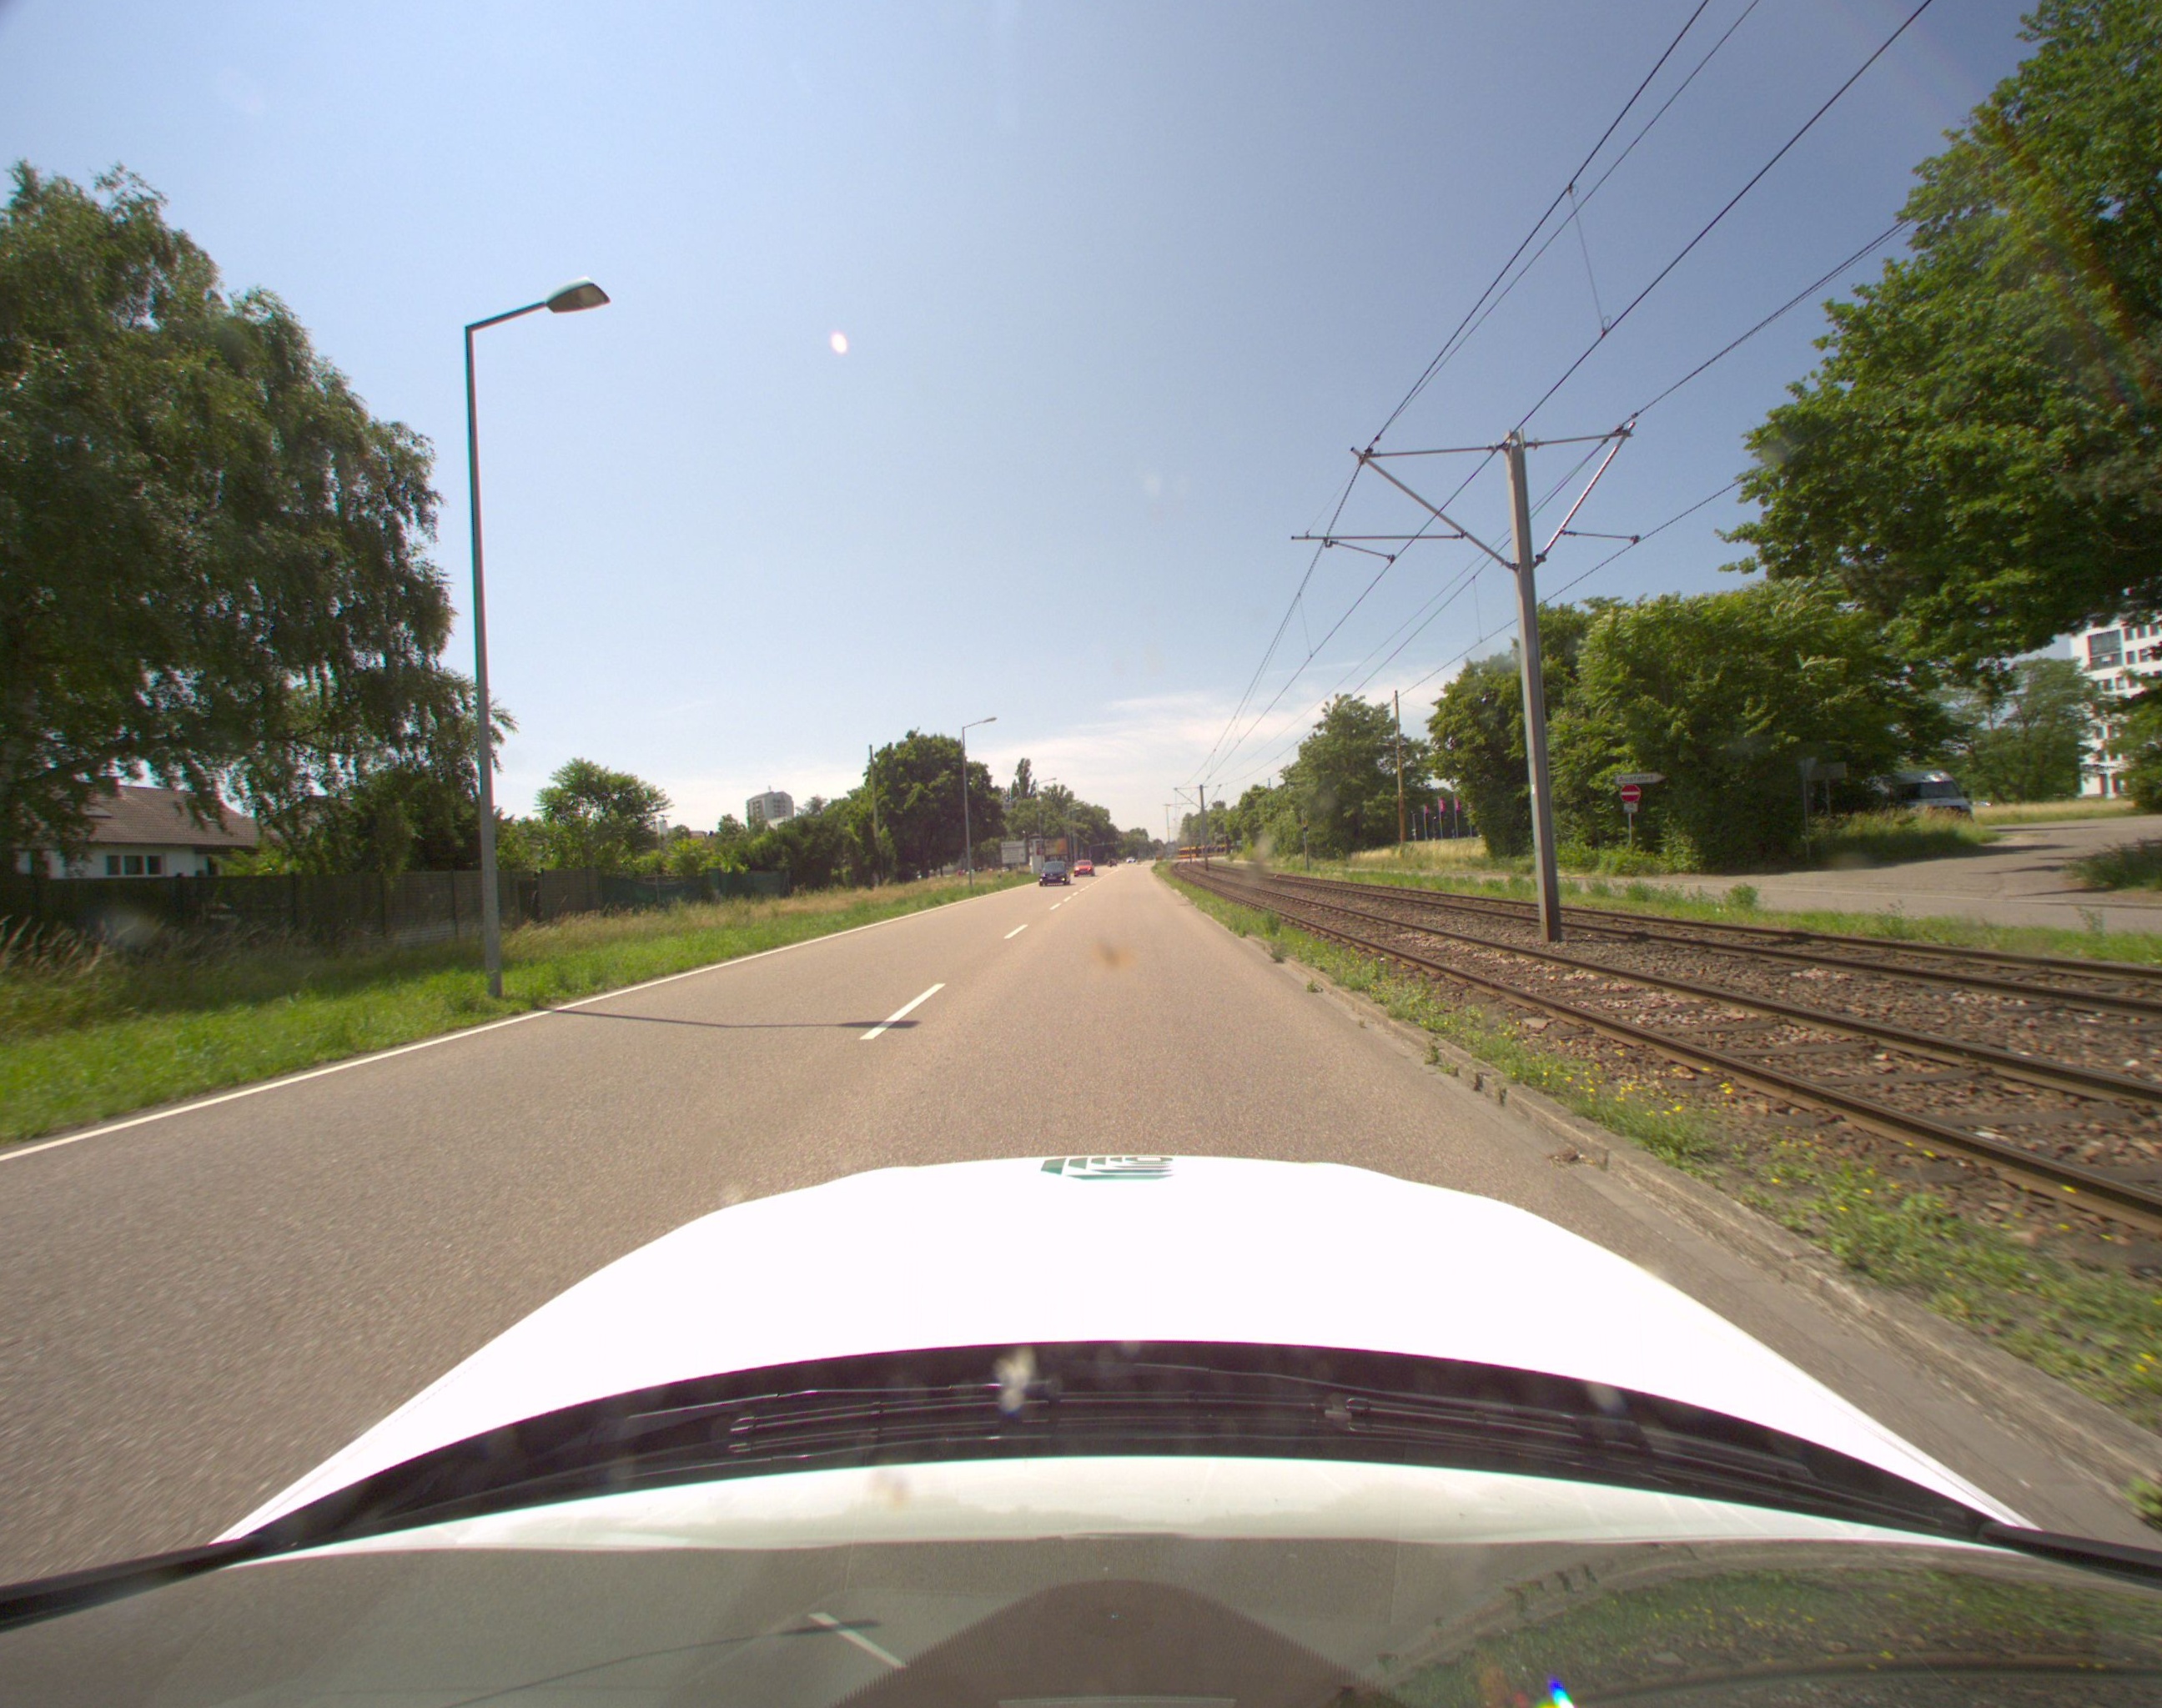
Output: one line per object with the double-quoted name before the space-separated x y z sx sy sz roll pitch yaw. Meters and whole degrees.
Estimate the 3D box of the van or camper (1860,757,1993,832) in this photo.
"van or camper" 35.072 -2.403 33.984 2.307 2.640 4.458 4 0 25

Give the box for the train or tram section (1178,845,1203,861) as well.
"train or tram section" 33.382 -0.271 248.467 2.917 3.920 13.980 -2 -3 -12

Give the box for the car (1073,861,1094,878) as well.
"car" 0.254 1.377 72.555 1.673 1.399 4.001 -2 0 1

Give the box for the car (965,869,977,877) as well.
"car" -25.659 4.437 190.235 1.711 1.592 3.971 -3 -1 -21

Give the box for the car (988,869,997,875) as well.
"car" -20.850 4.204 191.477 1.618 1.464 3.985 -3 -1 -11

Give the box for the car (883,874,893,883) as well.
"car" -43.549 5.493 183.652 1.851 1.948 3.976 -3 -1 -17

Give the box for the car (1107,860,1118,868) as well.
"car" 6.429 2.048 165.577 1.898 1.499 4.634 -2 -1 3

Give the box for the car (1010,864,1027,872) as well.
"car" -16.719 3.646 218.054 4.576 1.768 1.769 -3 -1 -45

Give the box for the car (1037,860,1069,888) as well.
"car" -1.665 1.185 49.748 1.678 1.570 3.968 -2 0 1

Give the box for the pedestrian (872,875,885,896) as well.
"pedestrian" -13.562 2.123 54.575 0.578 1.355 0.799 -3 -1 3

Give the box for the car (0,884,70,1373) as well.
"car" -4.307 0.876 0.694 1.809 1.505 4.001 -2 0 1

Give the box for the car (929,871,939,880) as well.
"car" -34.033 4.942 188.243 1.851 1.711 3.977 -3 1 -17

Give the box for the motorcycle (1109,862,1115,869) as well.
"motorcycle" 5.468 1.993 144.277 0.843 1.255 2.452 -3 -1 5

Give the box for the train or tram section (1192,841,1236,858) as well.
"train or tram section" 38.798 -1.134 237.503 2.939 3.920 13.796 0 -5 -41

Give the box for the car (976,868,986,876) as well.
"car" -23.458 4.197 191.019 1.709 1.801 3.976 -3 -1 -17

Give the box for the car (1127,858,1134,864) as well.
"car" 13.529 1.907 223.152 1.776 1.628 3.871 -4 -1 5

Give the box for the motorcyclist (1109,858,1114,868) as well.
"motorcyclist" 5.429 1.609 144.248 0.786 1.643 1.212 -3 -1 4
